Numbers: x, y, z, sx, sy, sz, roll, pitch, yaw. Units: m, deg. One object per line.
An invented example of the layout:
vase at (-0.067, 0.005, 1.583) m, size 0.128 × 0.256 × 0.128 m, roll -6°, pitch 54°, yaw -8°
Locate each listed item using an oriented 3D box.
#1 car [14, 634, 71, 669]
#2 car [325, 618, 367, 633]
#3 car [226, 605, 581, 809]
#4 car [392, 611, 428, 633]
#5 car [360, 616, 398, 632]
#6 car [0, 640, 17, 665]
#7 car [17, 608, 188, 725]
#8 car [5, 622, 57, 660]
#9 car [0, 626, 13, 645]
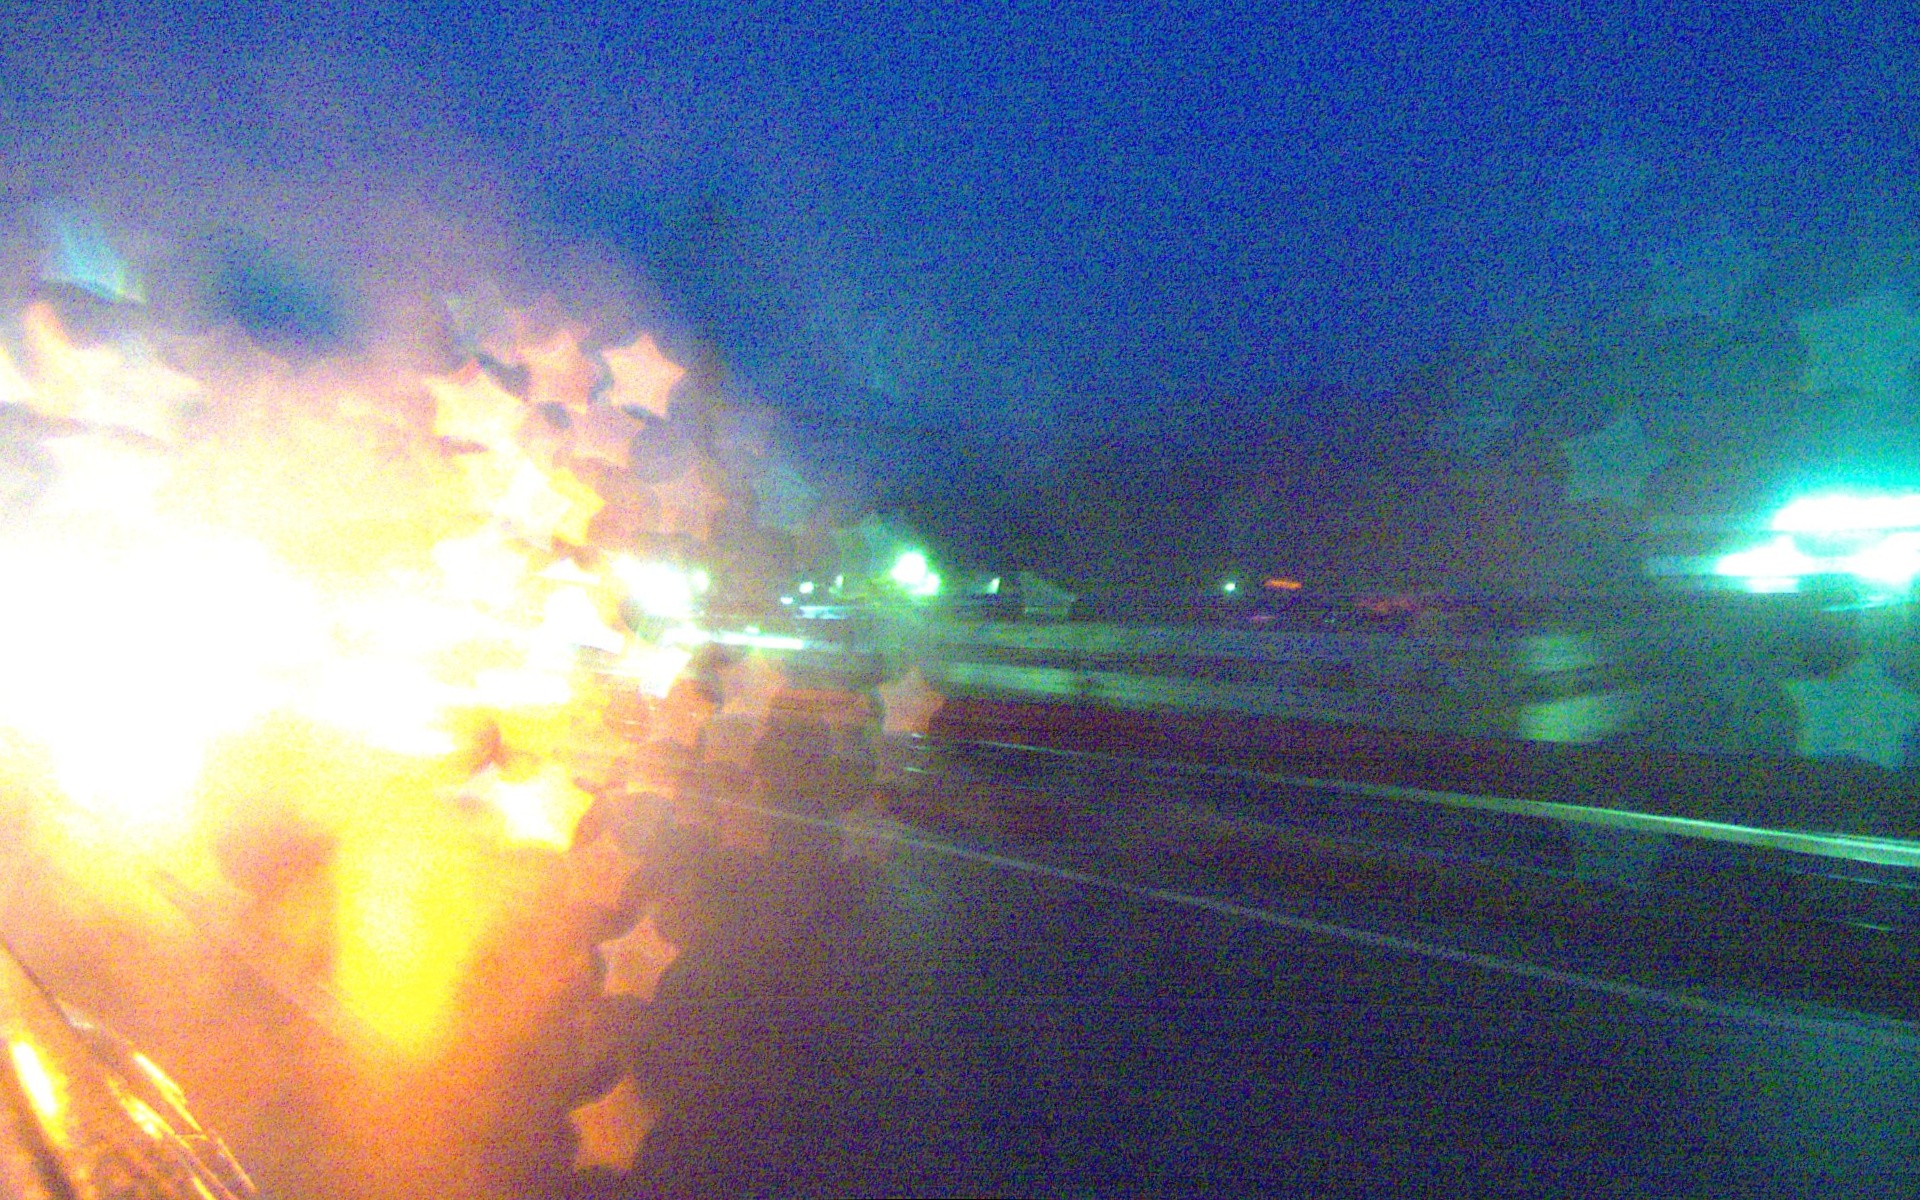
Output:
car at (-40.176, 2.216, 44.282) m, size 1.782 × 1.393 × 4.776 m, roll 0°, pitch -1°, yaw -43°
car at (-71.367, 2.986, 117.587) m, size 3.963 × 1.603 × 1.990 m, roll -1°, pitch -1°, yaw 15°
car at (-5.377, 0.854, 9.587) m, size 3.859 × 1.531 × 1.675 m, roll -1°, pitch -1°, yaw 40°
car at (-59.865, 2.358, 110.088) m, size 1.970 × 2.325 × 6.026 m, roll 0°, pitch -1°, yaw -44°
car at (-66.211, 2.717, 115.341) m, size 4.432 × 1.706 × 1.832 m, roll -1°, pitch -1°, yaw 31°
car at (-65.038, 3.528, 68.214) m, size 2.156 × 1.570 × 5.209 m, roll 0°, pitch -2°, yaw -43°
car at (-14.529, 1.030, 17.055) m, size 4.519 × 1.695 × 1.636 m, roll -2°, pitch -1°, yaw 42°
car at (-49.413, 2.160, 53.812) m, size 1.970 × 1.879 × 5.324 m, roll 0°, pitch -2°, yaw -43°
car at (-77.234, 2.852, 81.039) m, size 1.942 × 1.540 × 3.692 m, roll 0°, pitch -1°, yaw -42°
